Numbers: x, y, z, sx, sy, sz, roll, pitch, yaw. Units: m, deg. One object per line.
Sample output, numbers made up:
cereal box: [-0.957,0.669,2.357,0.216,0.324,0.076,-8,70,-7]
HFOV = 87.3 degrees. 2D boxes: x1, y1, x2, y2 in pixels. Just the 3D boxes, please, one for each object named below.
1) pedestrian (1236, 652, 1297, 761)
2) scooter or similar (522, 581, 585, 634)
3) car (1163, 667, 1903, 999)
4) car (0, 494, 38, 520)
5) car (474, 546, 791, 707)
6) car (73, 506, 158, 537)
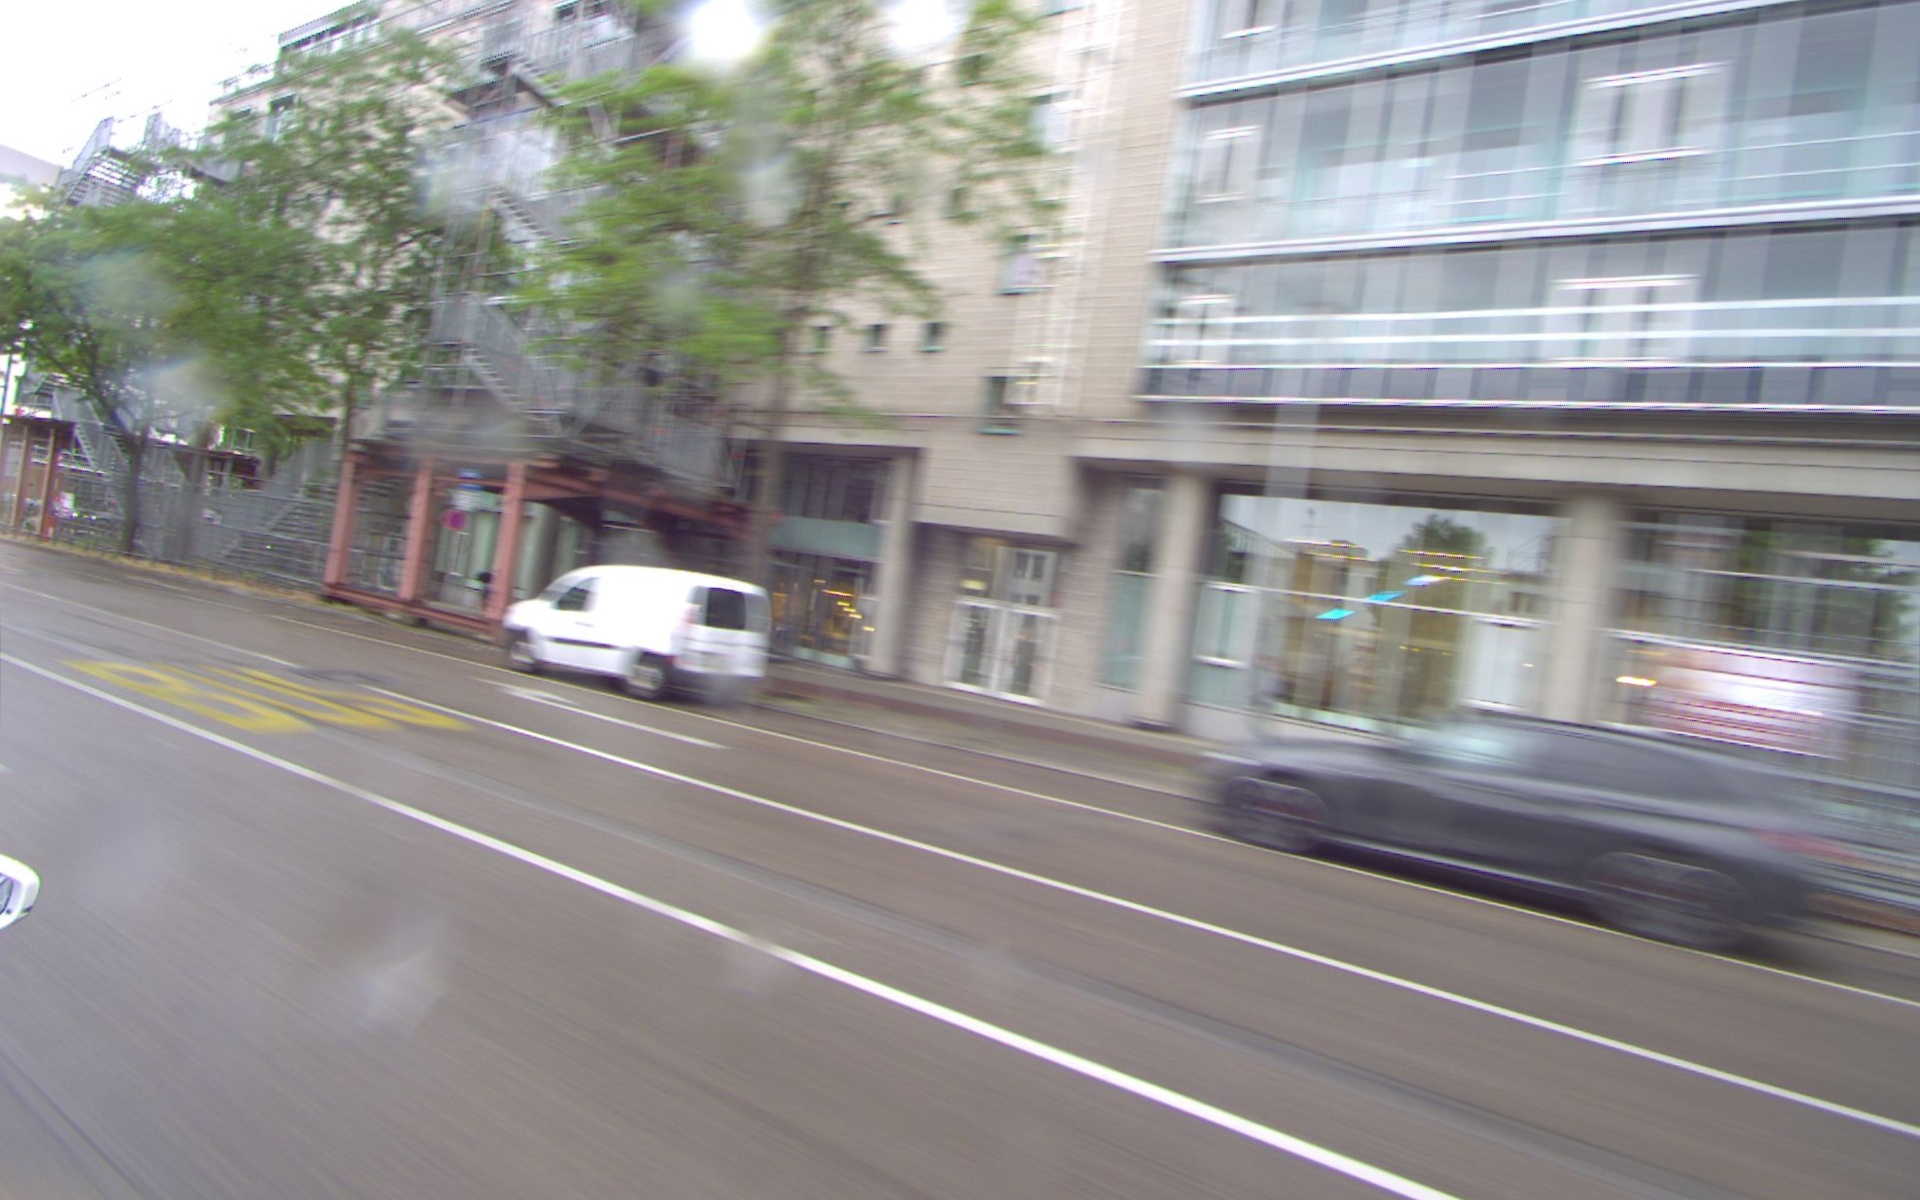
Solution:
pedestrian: [5.270,1.830,17.308,0.642,1.763,0.676,7,0,34]
scooter or similar: [-10.736,0.195,26.563,1.522,1.175,0.632,7,-1,32]
car: [4.431,1.666,8.548,4.842,1.454,1.871,7,-1,34]
car: [-74.413,-7.412,77.492,1.962,1.616,4.469,7,-2,17]
car: [-4.984,0.371,15.154,4.452,1.770,1.997,7,-1,32]
car: [-62.091,-5.765,74.034,1.691,1.481,4.468,7,-2,19]
